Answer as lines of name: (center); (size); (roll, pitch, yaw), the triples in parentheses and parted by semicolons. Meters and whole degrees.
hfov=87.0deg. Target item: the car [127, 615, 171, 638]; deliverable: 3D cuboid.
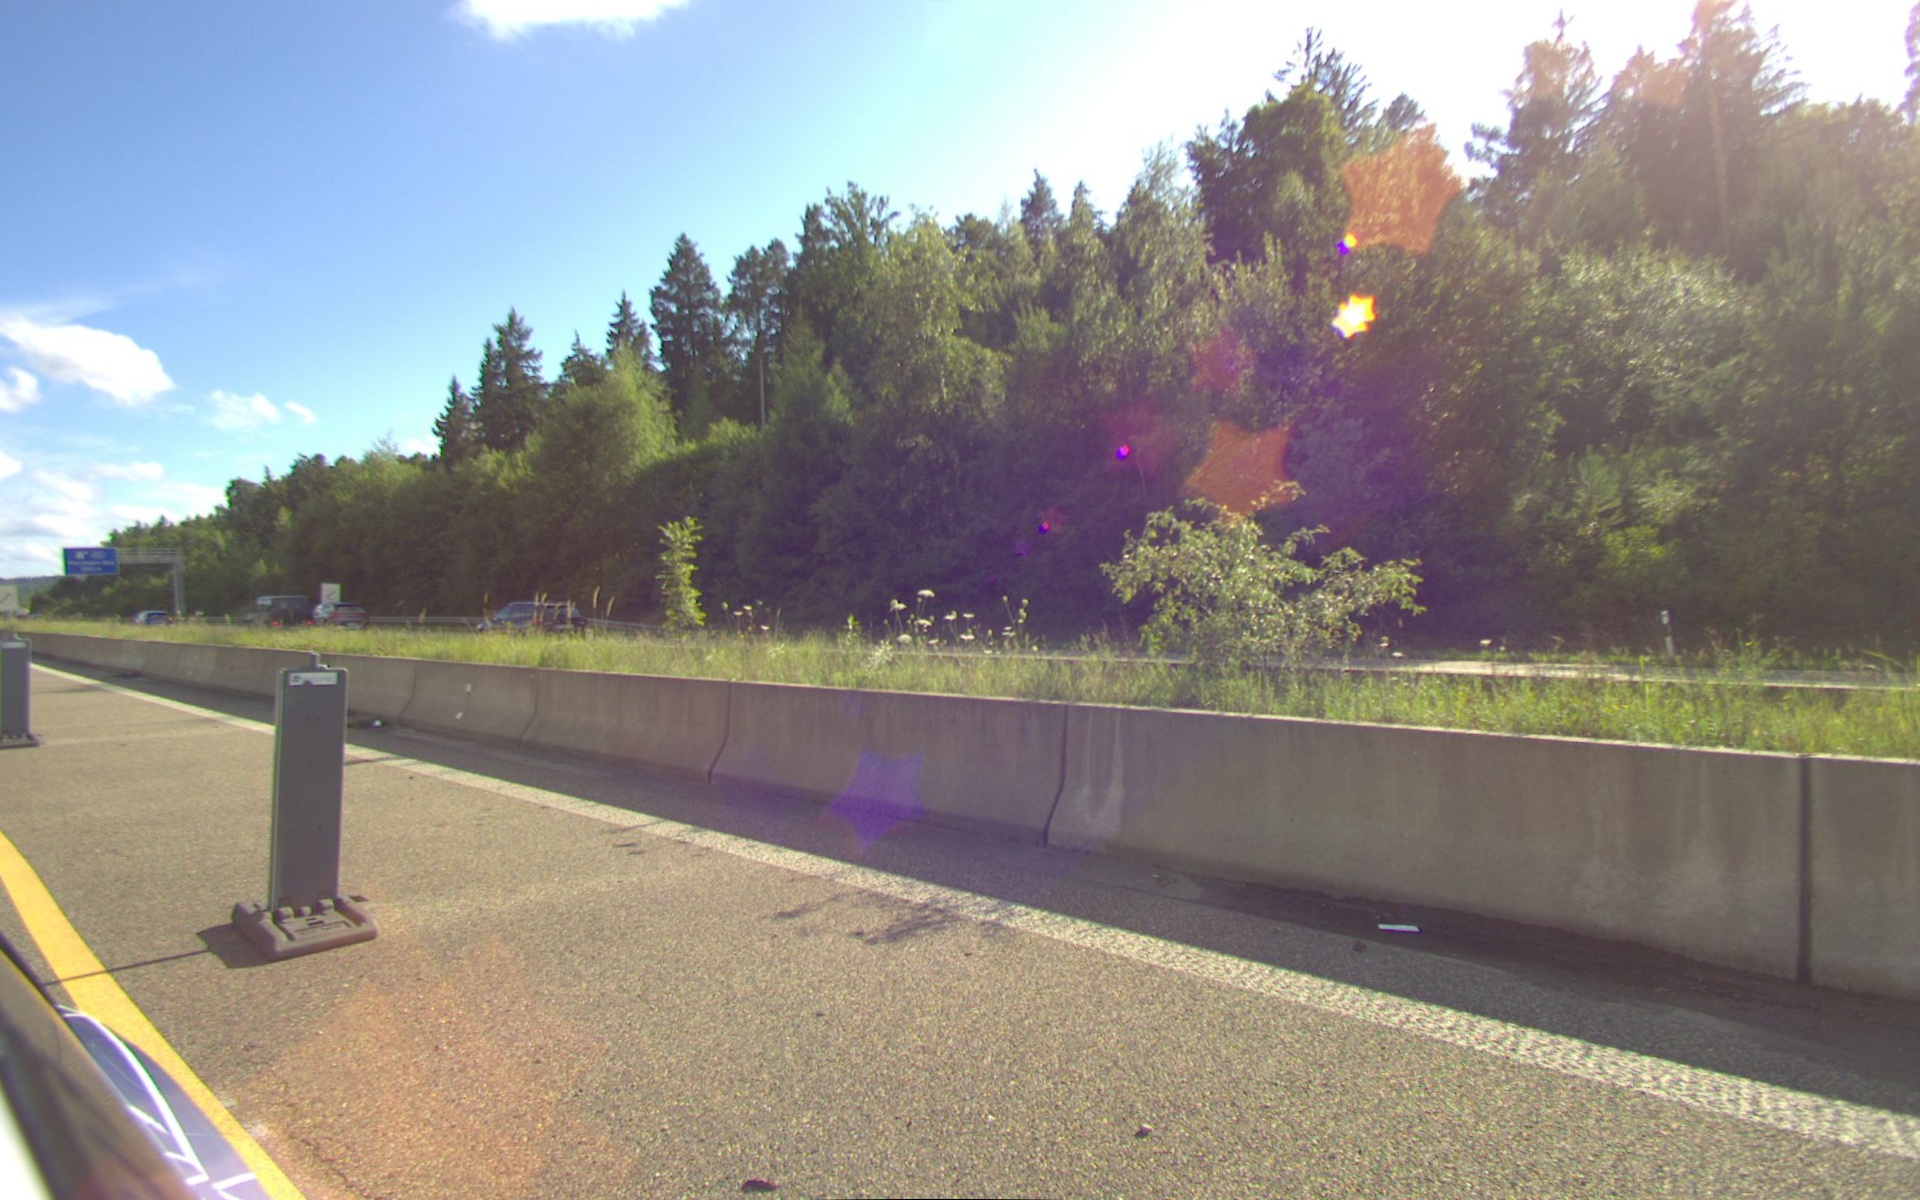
car: (-58.889, 1.884, 73.470); (4.309, 1.614, 1.759); (-1, 0, 41)

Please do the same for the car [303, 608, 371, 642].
car: (-32.933, 1.286, 53.431); (4.615, 1.701, 1.759); (-1, 0, 41)

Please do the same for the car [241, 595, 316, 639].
car: (-31.747, 0.769, 47.099); (4.615, 1.917, 1.759); (-1, 0, 41)

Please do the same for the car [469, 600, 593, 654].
car: (-12.805, 0.770, 30.117); (4.102, 1.467, 1.759); (-1, 0, 41)
